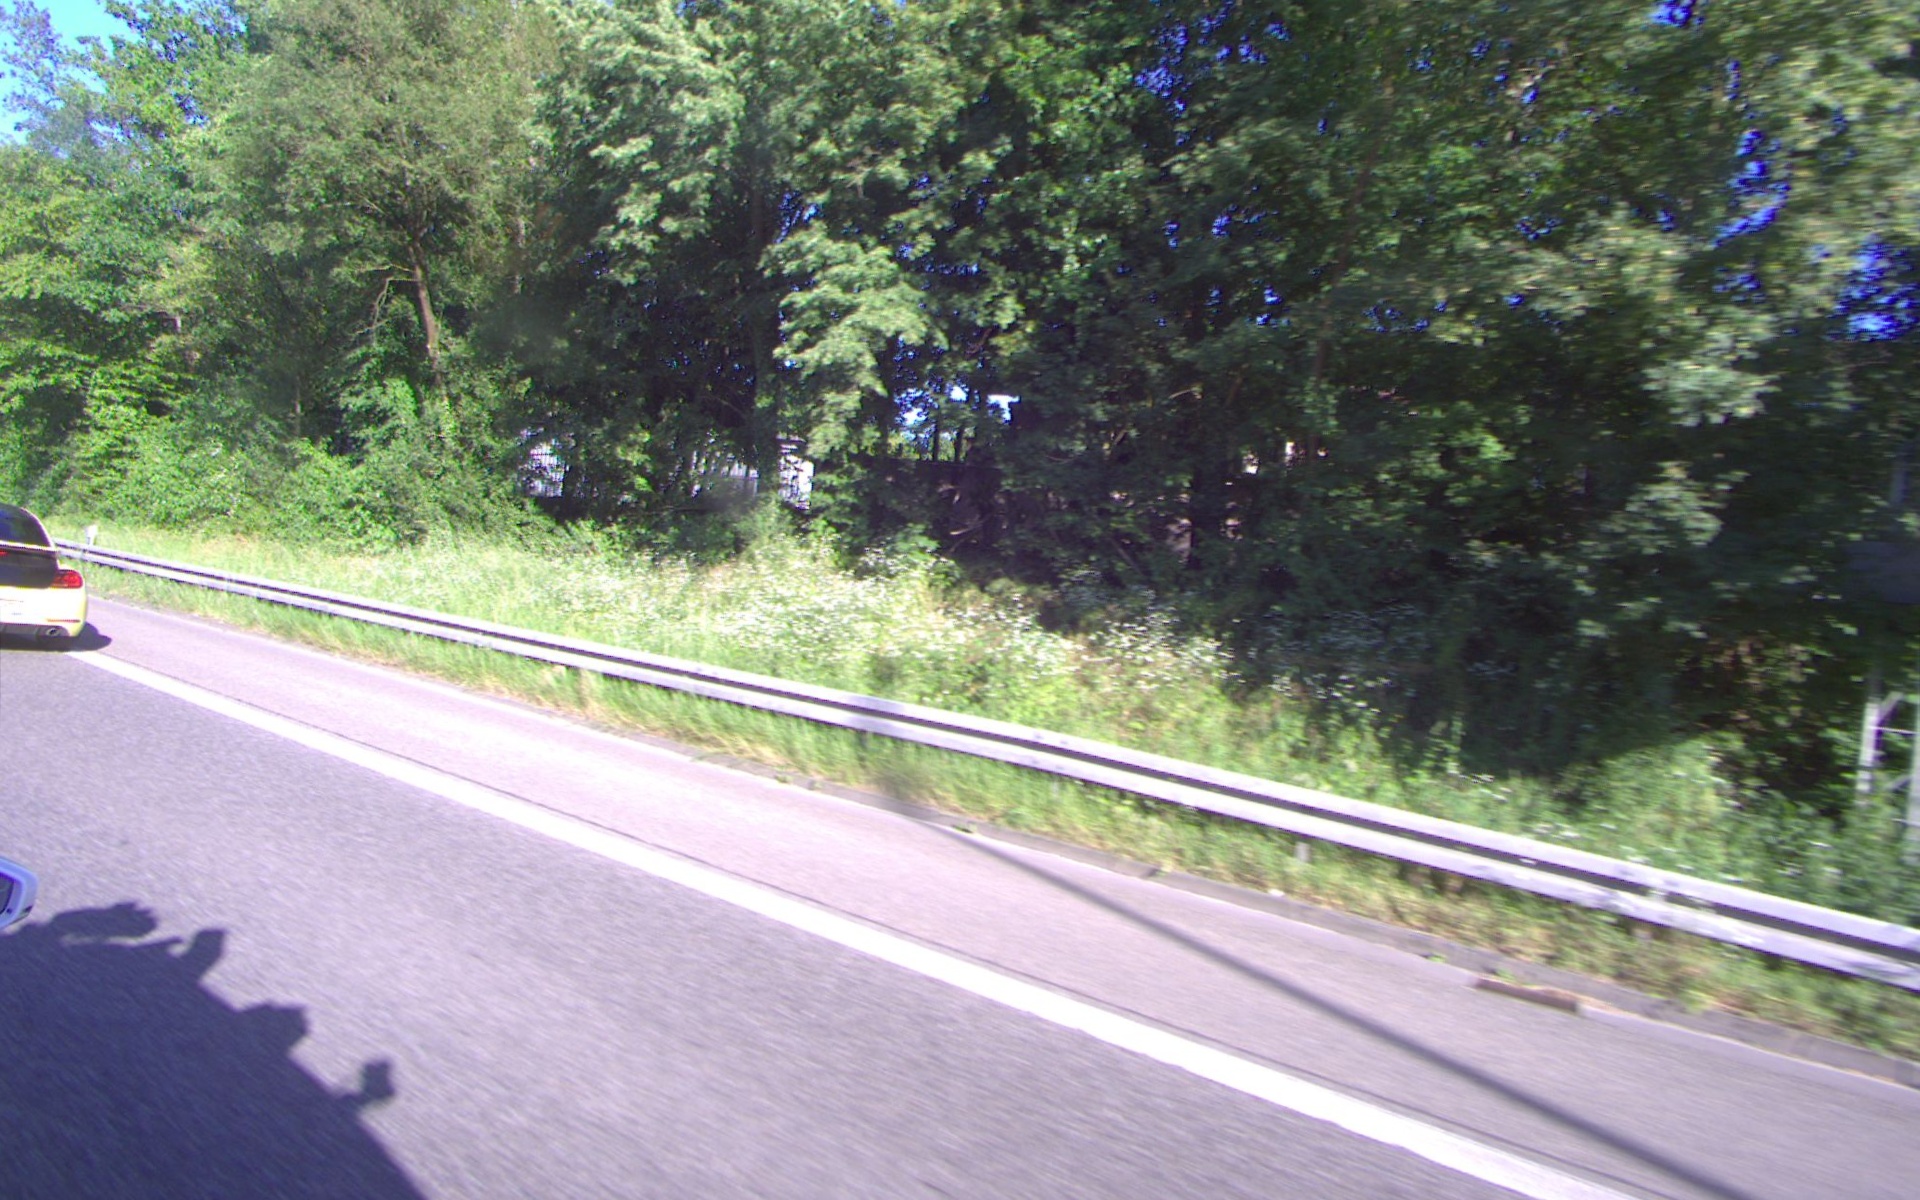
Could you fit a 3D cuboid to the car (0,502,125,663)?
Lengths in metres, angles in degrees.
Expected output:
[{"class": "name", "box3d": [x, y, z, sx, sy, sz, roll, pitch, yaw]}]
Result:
[{"class": "car", "box3d": [-10.924, -0.385, 10.662, 4.285, 1.479, 1.882, 7, -1, 33]}]
